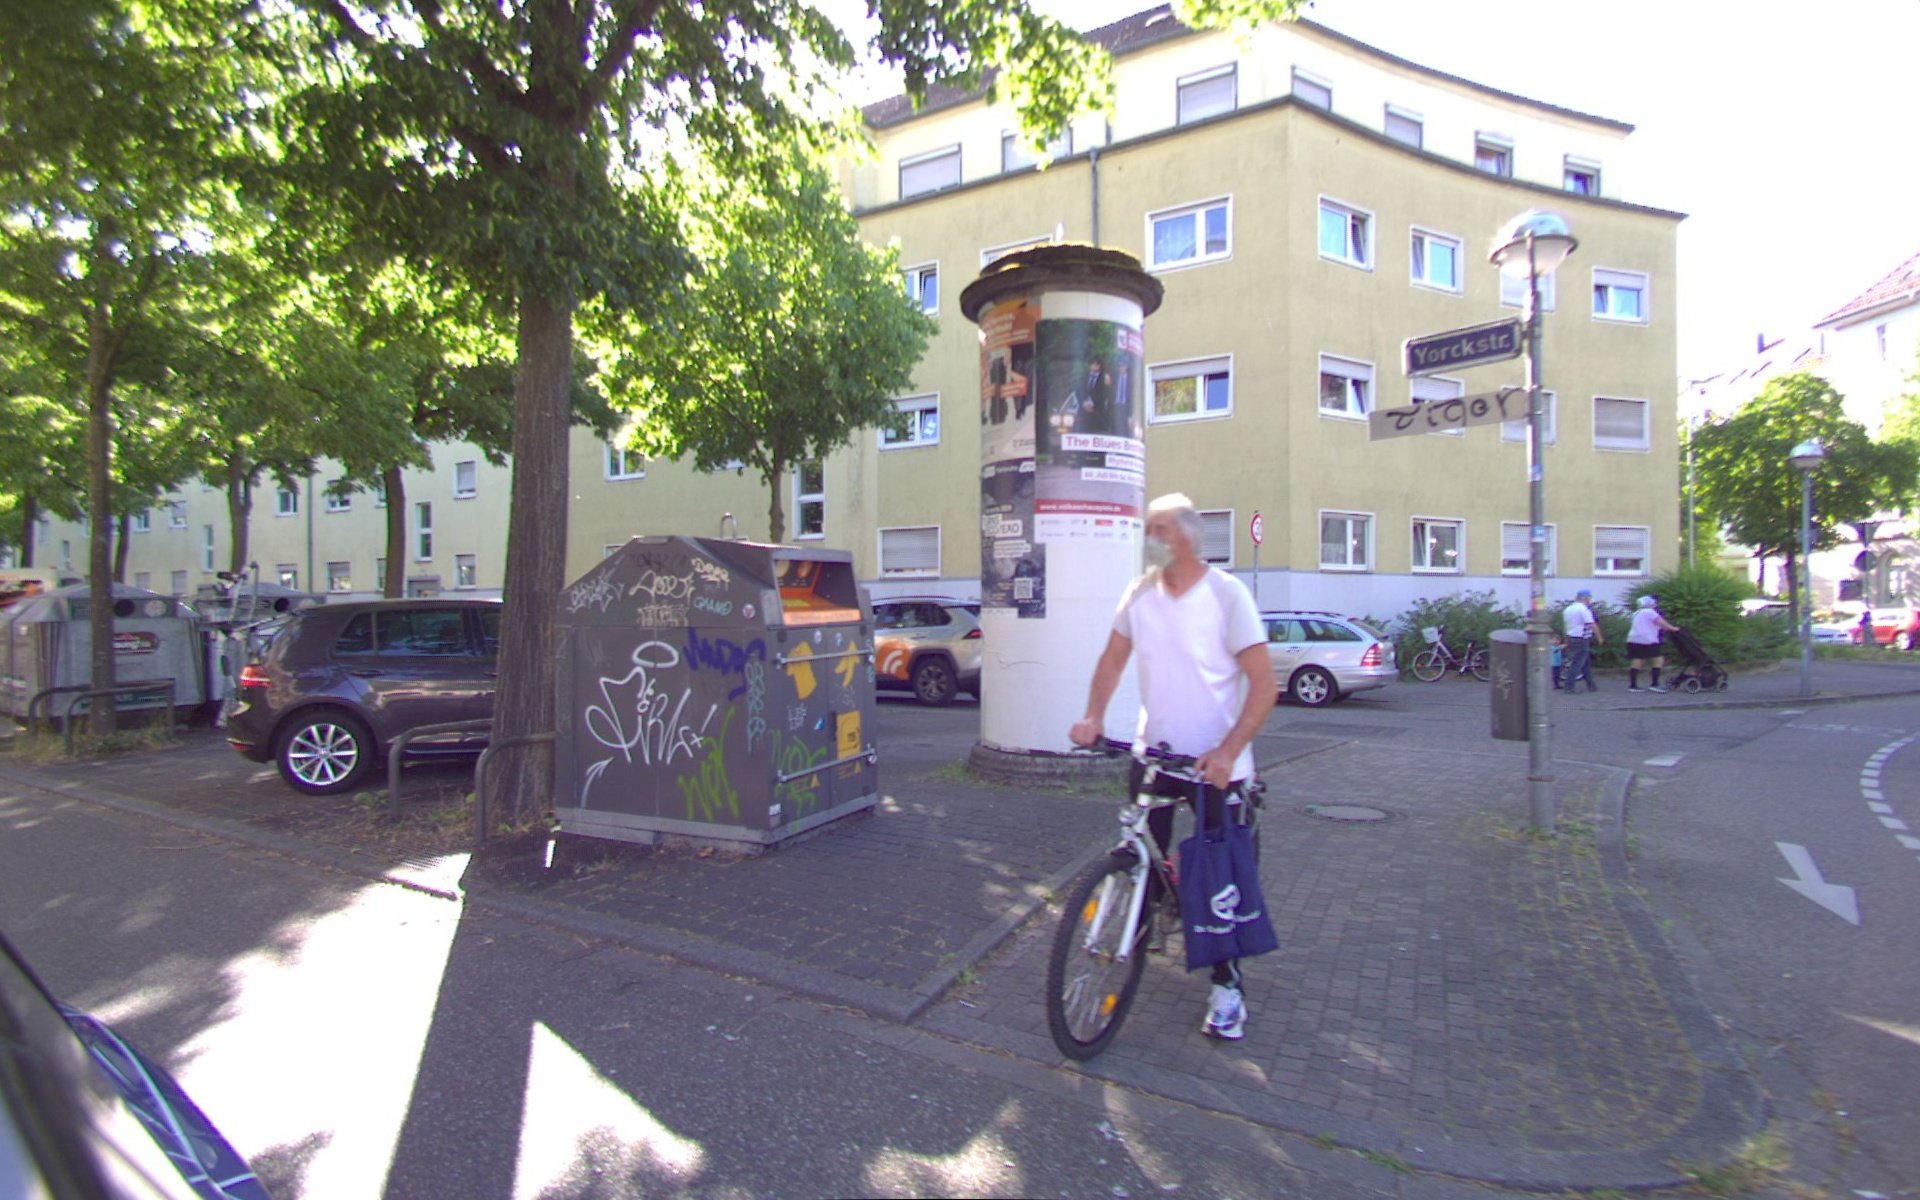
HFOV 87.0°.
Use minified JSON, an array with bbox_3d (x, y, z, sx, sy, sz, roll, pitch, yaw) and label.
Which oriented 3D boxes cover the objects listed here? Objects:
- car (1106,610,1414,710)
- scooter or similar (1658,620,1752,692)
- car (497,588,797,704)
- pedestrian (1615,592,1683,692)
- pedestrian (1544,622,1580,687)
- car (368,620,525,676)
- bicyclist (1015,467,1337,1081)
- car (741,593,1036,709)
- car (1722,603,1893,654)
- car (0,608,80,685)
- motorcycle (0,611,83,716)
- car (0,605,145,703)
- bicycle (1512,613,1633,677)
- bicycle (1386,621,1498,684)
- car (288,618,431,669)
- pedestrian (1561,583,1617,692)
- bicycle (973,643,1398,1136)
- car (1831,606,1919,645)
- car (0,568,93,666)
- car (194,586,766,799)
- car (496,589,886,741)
[{"bbox_3d":[4.774,0.903,16.345,4.475,1.422,1.714,-1,-1,32],"label":"car"},{"bbox_3d":[11.849,0.881,16.133,0.890,1.030,0.914,-2,3,12],"label":"scooter or similar"},{"bbox_3d":[-4.493,0.617,14.970,1.758,1.484,3.947,-2,-1,40],"label":"car"},{"bbox_3d":[11.046,0.660,16.238,0.690,1.535,0.648,-2,2,12],"label":"pedestrian"},{"bbox_3d":[10.079,0.907,16.941,0.402,1.047,0.375,-2,2,12],"label":"pedestrian"},{"bbox_3d":[-14.551,1.305,28.621,4.373,1.450,2.021,-1,-1,32],"label":"car"},{"bbox_3d":[0.732,0.487,3.376,0.764,1.709,0.802,-1,-1,38],"label":"bicyclist"},{"bbox_3d":[-1.212,0.793,16.302,4.599,1.642,1.714,-1,-3,31],"label":"car"},{"bbox_3d":[25.940,0.862,31.174,1.778,1.422,4.000,-1,-1,-1],"label":"car"},{"bbox_3d":[-20.001,0.911,19.701,3.931,1.464,1.829,0,-1,-20],"label":"car"},{"bbox_3d":[-12.763,0.831,13.305,0.721,1.358,1.792,-1,-1,14],"label":"motorcycle"},{"bbox_3d":[-15.436,0.829,15.722,3.931,1.452,1.829,0,-1,-20],"label":"car"},{"bbox_3d":[11.008,0.810,18.221,1.779,1.116,0.499,-1,-1,8],"label":"bicycle"},{"bbox_3d":[8.728,0.941,18.391,1.788,1.116,0.496,-1,-1,22],"label":"bicycle"},{"bbox_3d":[-18.509,1.299,31.159,4.373,1.450,2.021,-1,-1,32],"label":"car"},{"bbox_3d":[10.166,0.603,16.375,0.603,1.705,0.552,-2,2,12],"label":"pedestrian"},{"bbox_3d":[0.905,0.793,3.605,0.764,1.207,1.846,-1,-1,37],"label":"bicycle"},{"bbox_3d":[32.424,0.860,34.756,1.775,1.265,3.717,-1,-1,1],"label":"car"},{"bbox_3d":[-25.868,0.454,26.409,4.514,2.509,1.993,0,-1,-24],"label":"car"},{"bbox_3d":[-3.726,0.651,8.481,3.931,1.484,1.765,0,-1,-18],"label":"car"},{"bbox_3d":[-2.969,0.643,11.377,3.931,1.484,1.765,0,-1,-19],"label":"car"}]
